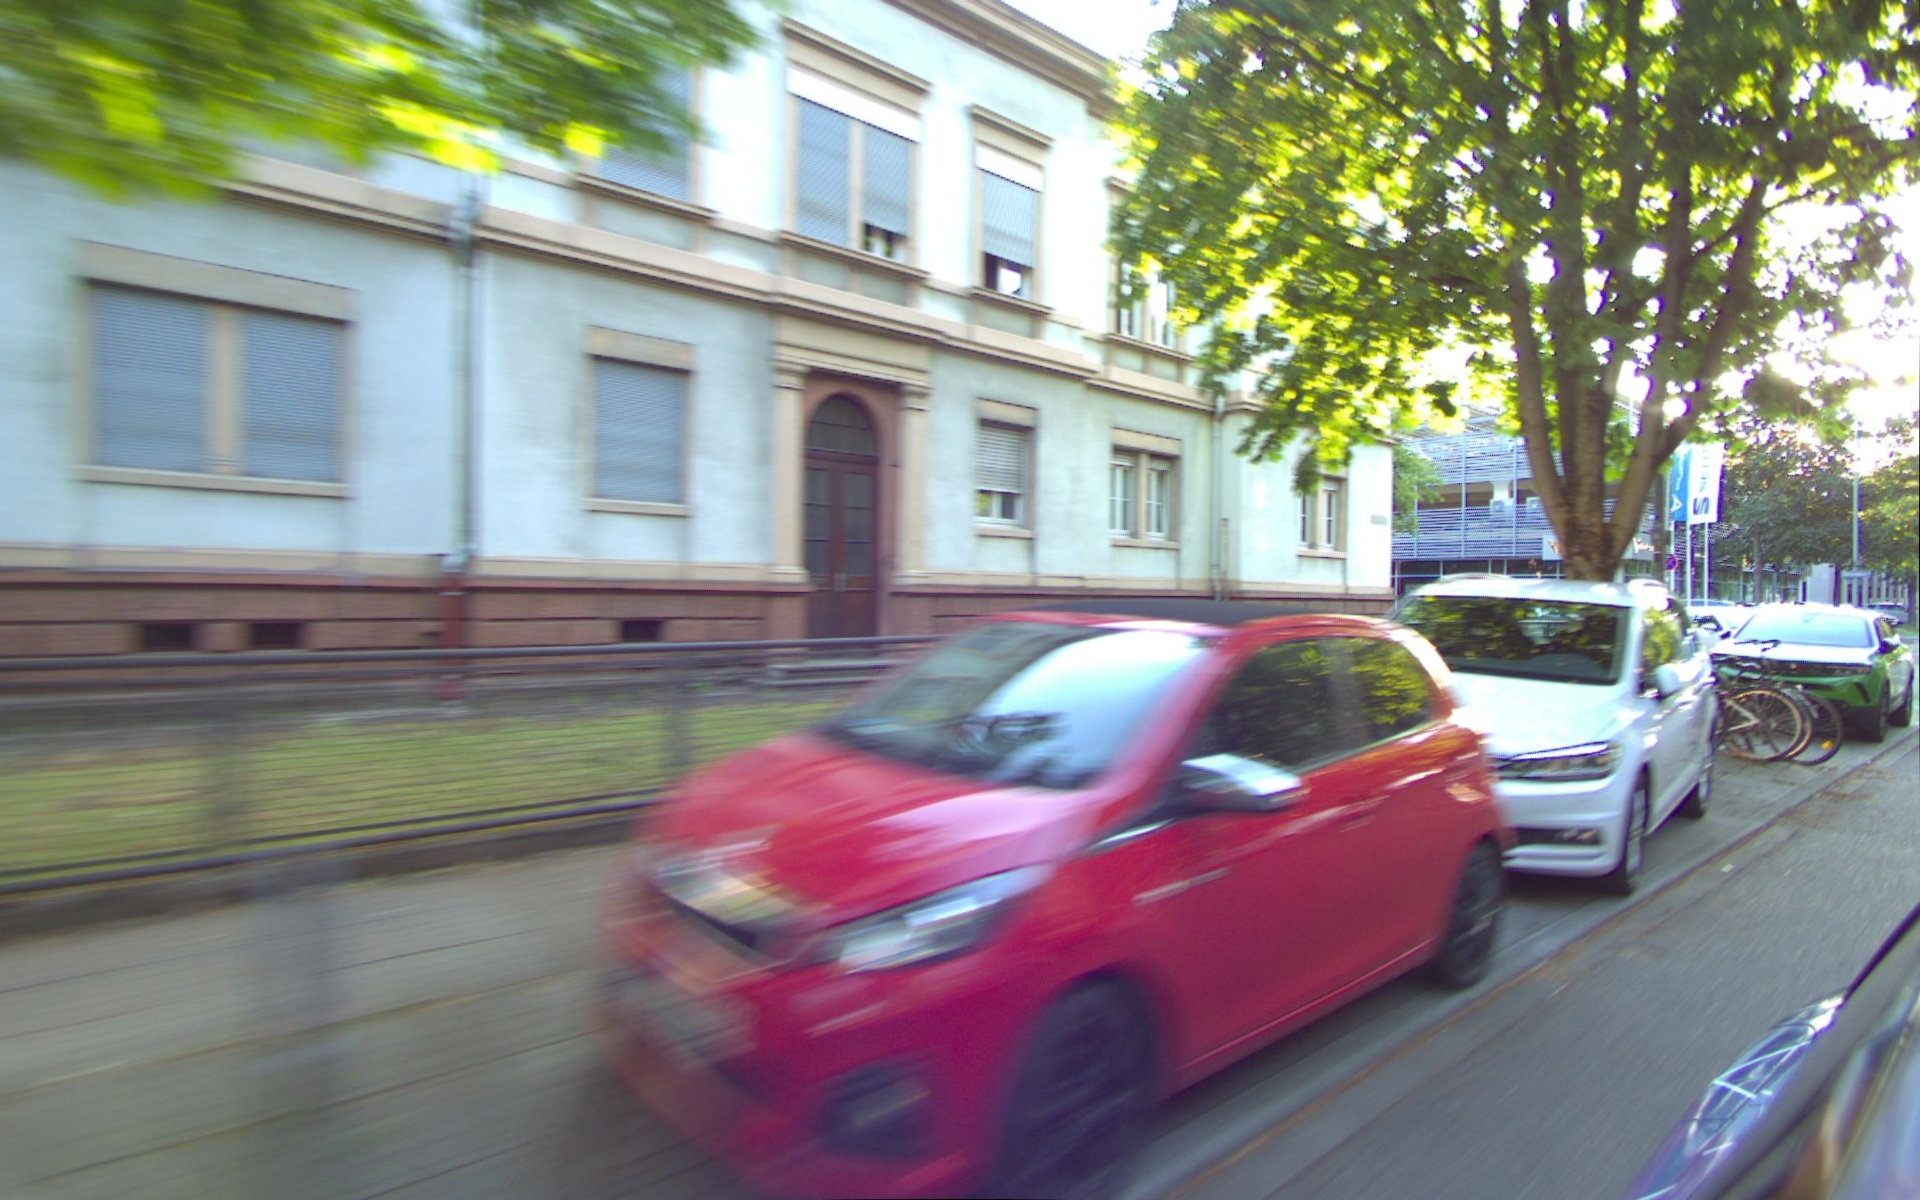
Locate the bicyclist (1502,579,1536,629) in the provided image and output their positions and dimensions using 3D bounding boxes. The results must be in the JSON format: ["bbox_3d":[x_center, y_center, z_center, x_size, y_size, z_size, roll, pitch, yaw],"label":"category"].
[{"bbox_3d":[18.352,0.129,33.218,0.500,1.597,0.824,2,-1,-32],"label":"bicyclist"}]

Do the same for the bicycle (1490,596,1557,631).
[{"bbox_3d":[18.414,0.431,33.136,0.528,1.046,1.908,-1,2,-31],"label":"bicycle"}]

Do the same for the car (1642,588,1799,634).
[{"bbox_3d":[29.189,0.398,38.967,1.840,1.664,4.584,1,-1,-41],"label":"car"}]

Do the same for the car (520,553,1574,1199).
[{"bbox_3d":[0.602,0.688,3.613,3.629,1.518,1.667,1,2,-42],"label":"car"}]

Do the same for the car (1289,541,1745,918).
[{"bbox_3d":[3.884,0.575,6.690,1.664,1.699,4.056,4,2,43],"label":"car"}]

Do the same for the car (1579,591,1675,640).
[{"bbox_3d":[23.900,0.497,36.210,4.053,1.626,1.716,-1,1,-39],"label":"car"}]

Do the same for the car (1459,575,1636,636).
[{"bbox_3d":[16.145,0.108,27.980,1.603,1.565,3.941,0,1,-37],"label":"car"}]

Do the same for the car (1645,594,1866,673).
[{"bbox_3d":[17.234,0.664,22.232,1.780,1.520,4.166,2,0,5],"label":"car"}]

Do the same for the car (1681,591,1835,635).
[{"bbox_3d":[31.538,0.486,40.103,1.840,1.637,4.584,1,-1,-41],"label":"car"}]

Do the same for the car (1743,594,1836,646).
[{"bbox_3d":[27.009,0.631,32.908,3.834,1.592,1.765,1,0,-42],"label":"car"}]

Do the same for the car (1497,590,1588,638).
[{"bbox_3d":[22.100,0.490,38.365,3.626,1.611,1.706,-2,2,-37],"label":"car"}]

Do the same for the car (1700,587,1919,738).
[{"bbox_3d":[11.156,0.702,12.994,3.891,1.576,1.735,1,2,-40],"label":"car"}]
